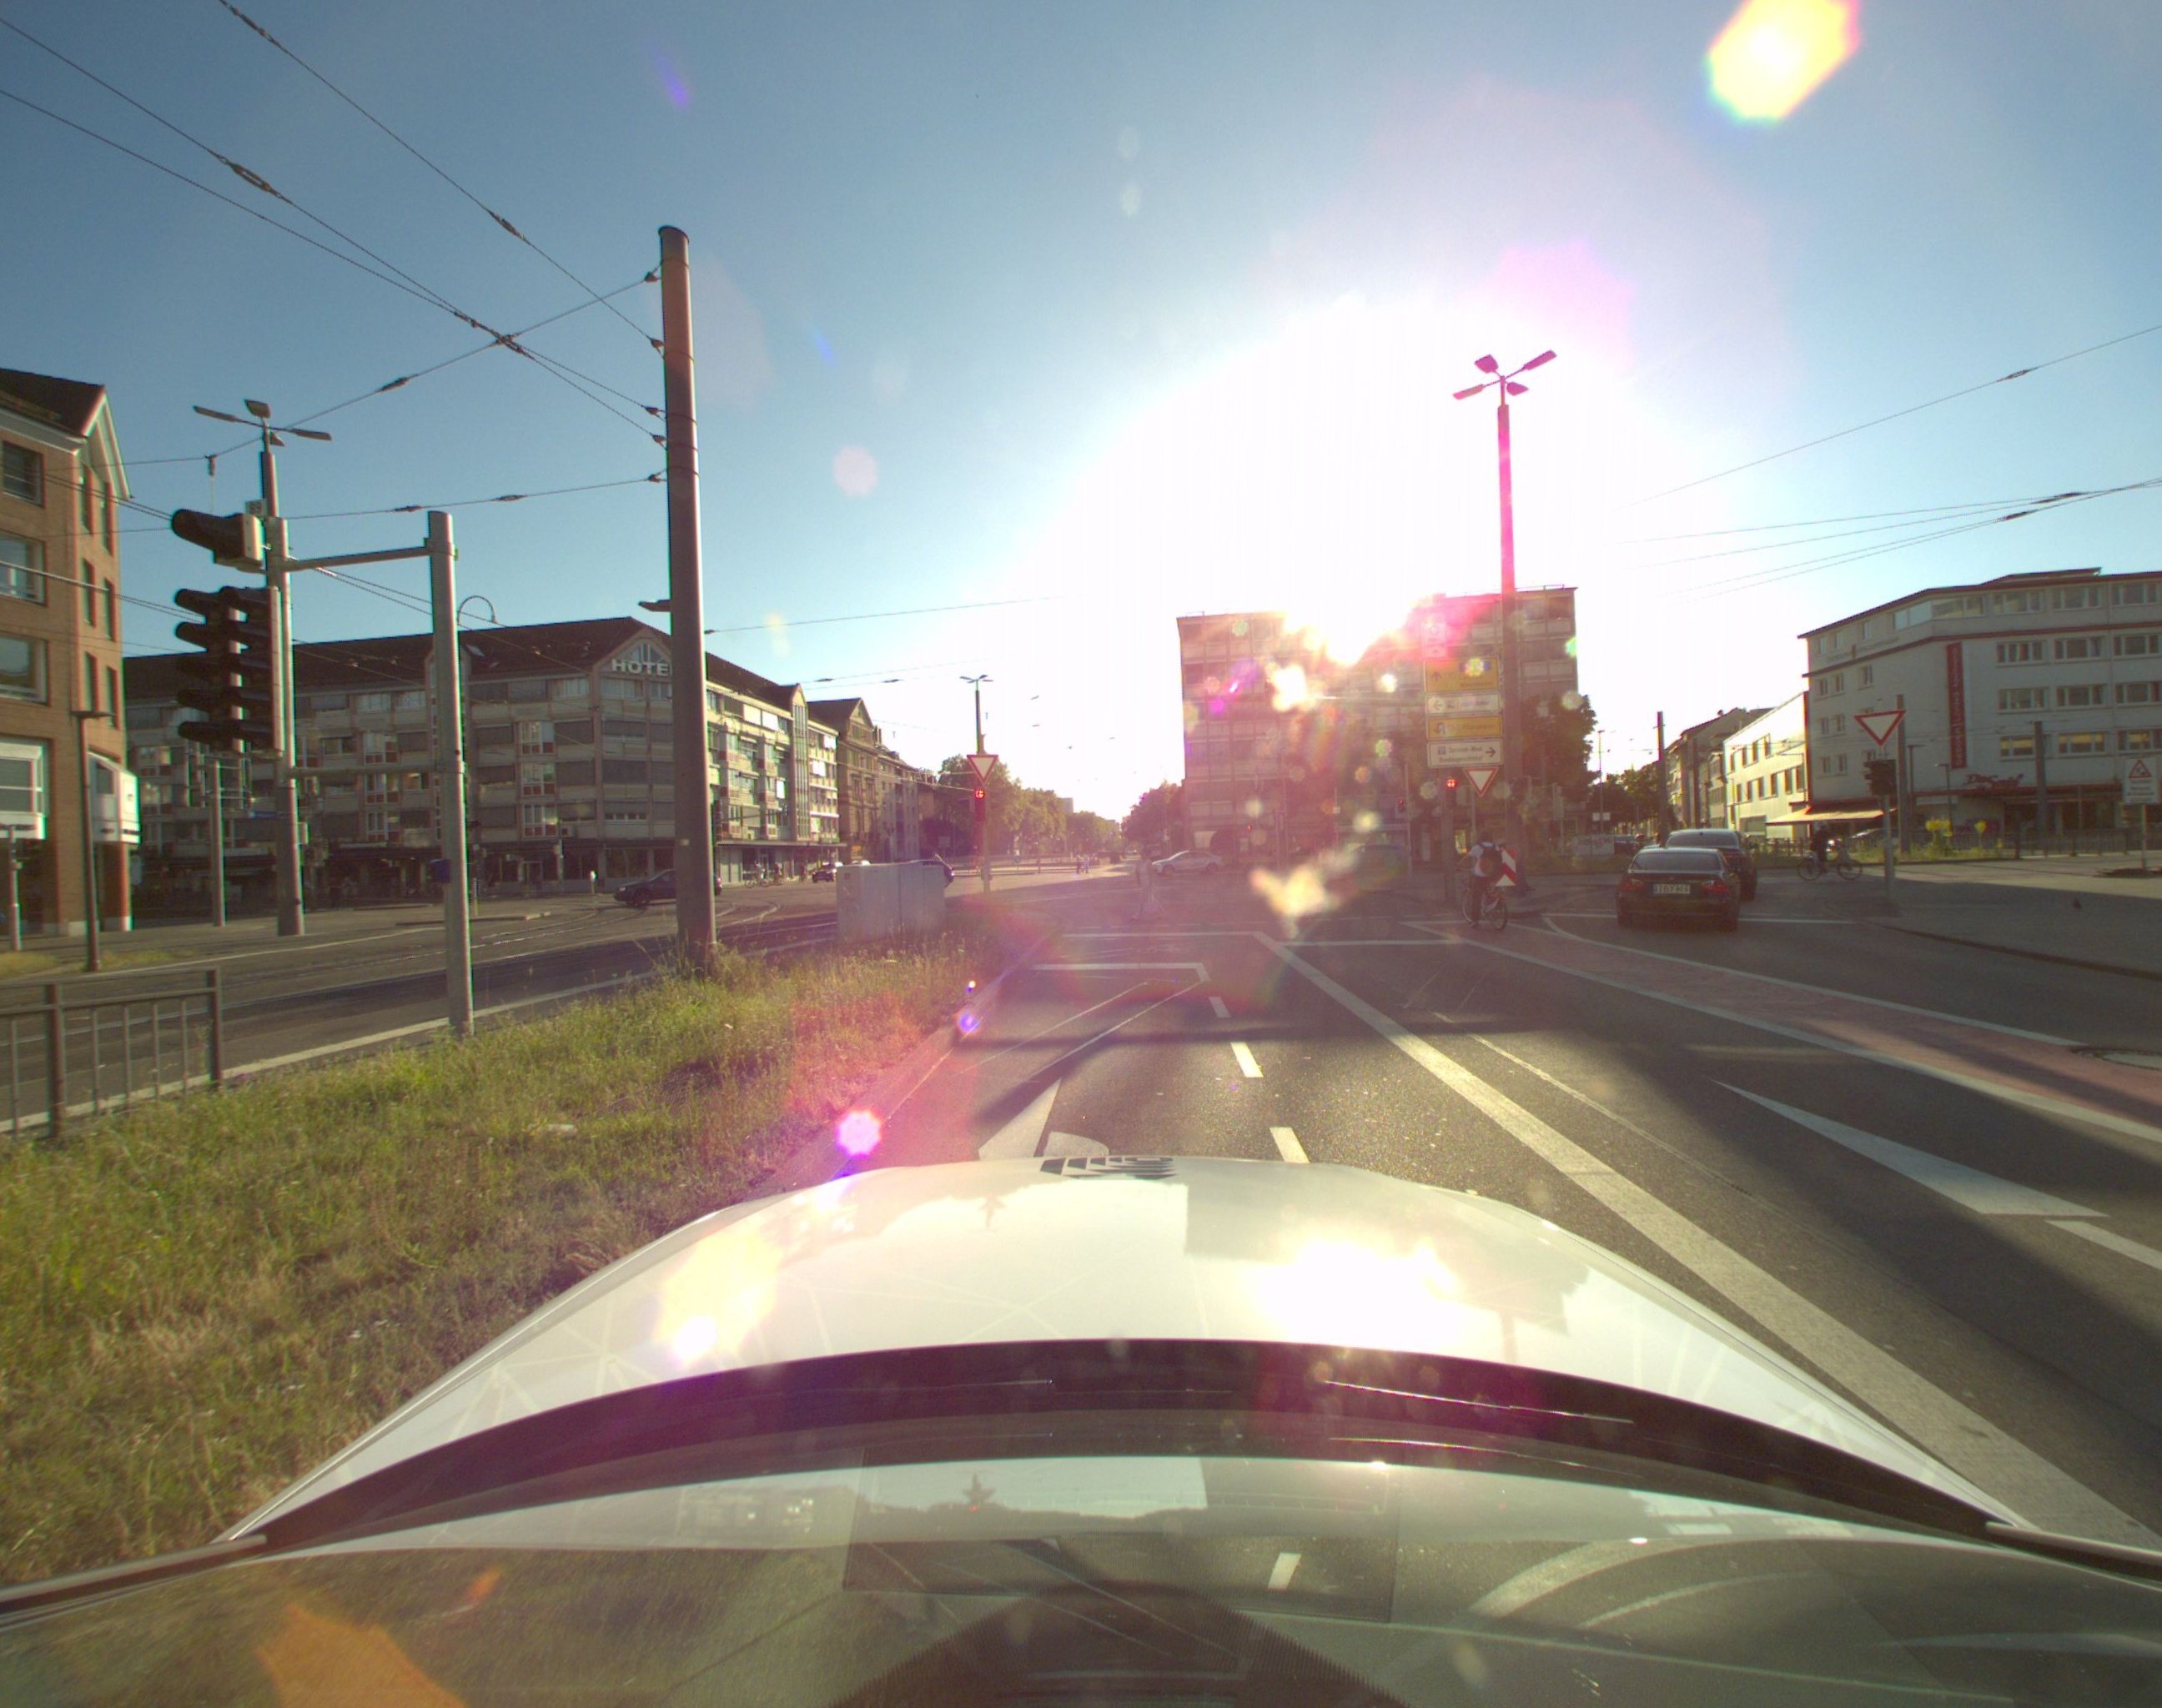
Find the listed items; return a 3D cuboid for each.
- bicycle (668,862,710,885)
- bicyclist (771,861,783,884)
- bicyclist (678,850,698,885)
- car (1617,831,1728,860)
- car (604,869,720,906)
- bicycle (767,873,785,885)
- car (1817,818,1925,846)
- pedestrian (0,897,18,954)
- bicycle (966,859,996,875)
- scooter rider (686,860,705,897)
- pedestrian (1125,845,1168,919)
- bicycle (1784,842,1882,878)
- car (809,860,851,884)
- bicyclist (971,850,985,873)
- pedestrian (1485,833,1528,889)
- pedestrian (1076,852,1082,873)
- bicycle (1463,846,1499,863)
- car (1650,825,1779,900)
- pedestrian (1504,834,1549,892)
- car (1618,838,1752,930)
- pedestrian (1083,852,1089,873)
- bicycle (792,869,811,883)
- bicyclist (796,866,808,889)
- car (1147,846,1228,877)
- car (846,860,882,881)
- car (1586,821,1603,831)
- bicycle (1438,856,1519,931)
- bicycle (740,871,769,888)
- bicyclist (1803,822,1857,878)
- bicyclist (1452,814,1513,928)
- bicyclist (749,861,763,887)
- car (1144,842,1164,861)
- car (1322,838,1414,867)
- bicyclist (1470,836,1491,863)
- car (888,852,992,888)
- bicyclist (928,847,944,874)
[{"bbox_3d":[-19.735,0.994,41.047,1.773,1.072,0.534,-3,0,-6],"label":"bicycle"},{"bbox_3d":[-25.173,1.552,67.405,0.590,1.862,0.643,-3,0,5],"label":"bicyclist"},{"bbox_3d":[-19.798,0.659,41.042,0.663,1.712,0.537,-3,0,-6],"label":"bicyclist"},{"bbox_3d":[34.622,-0.489,47.766,4.891,1.479,2.005,-2,0,8],"label":"car"},{"bbox_3d":[-17.562,1.383,34.239,4.021,1.288,1.825,-3,0,-40],"label":"car"},{"bbox_3d":[-25.170,2.031,67.194,0.595,0.915,1.839,-3,0,6],"label":"bicycle"},{"bbox_3d":[44.825,-1.225,46.292,3.966,1.420,2.004,-2,0,7],"label":"car"},{"bbox_3d":[-34.880,2.311,26.318,0.495,1.807,0.546,-3,0,32],"label":"pedestrian"},{"bbox_3d":[-7.733,0.976,62.779,2.167,1.137,0.659,-3,0,-1],"label":"bicycle"},{"bbox_3d":[-18.112,1.146,38.280,0.664,1.712,0.524,-2,0,-12],"label":"scooter rider"},{"bbox_3d":[1.459,0.610,18.117,0.874,1.597,0.656,-2,0,3],"label":"pedestrian"},{"bbox_3d":[23.016,0.186,24.959,2.214,1.026,0.683,-2,0,7],"label":"bicycle"},{"bbox_3d":[-21.949,1.549,71.368,1.983,1.859,4.007,-3,0,6],"label":"car"},{"bbox_3d":[-7.931,0.563,62.773,0.895,1.752,0.650,-3,0,0],"label":"bicyclist"},{"bbox_3d":[12.443,0.202,23.841,0.875,1.597,0.655,-2,0,1],"label":"pedestrian"},{"bbox_3d":[-0.155,0.625,60.060,0.365,1.508,0.542,-3,0,-3],"label":"pedestrian"},{"bbox_3d":[26.319,0.032,53.578,1.966,1.098,0.677,-2,0,-1],"label":"bicycle"},{"bbox_3d":[16.135,0.140,20.683,4.023,1.693,1.976,-2,2,-43],"label":"car"},{"bbox_3d":[12.619,0.254,23.083,0.875,1.597,0.655,-2,0,1],"label":"pedestrian"},{"bbox_3d":[11.036,0.463,14.942,1.726,1.426,4.026,-2,0,37],"label":"car"},{"bbox_3d":[0.348,0.639,60.950,0.365,1.508,0.542,-3,0,-3],"label":"pedestrian"},{"bbox_3d":[-24.349,1.919,70.995,0.604,1.201,1.972,-2,0,9],"label":"bicycle"},{"bbox_3d":[-24.333,2.054,70.970,0.599,2.013,0.781,-2,0,7],"label":"bicyclist"},{"bbox_3d":[6.175,0.415,47.566,4.324,1.596,1.997,-3,0,-4],"label":"car"},{"bbox_3d":[-21.116,1.556,79.420,1.983,1.859,4.007,-3,0,6],"label":"car"},{"bbox_3d":[74.969,-4.070,118.892,1.974,1.398,4.025,-3,0,31],"label":"car"},{"bbox_3d":[7.299,0.679,15.053,0.641,1.223,2.051,0,2,5],"label":"bicycle"},{"bbox_3d":[-22.140,1.716,55.216,1.730,1.059,0.538,-3,0,-6],"label":"bicycle"},{"bbox_3d":[22.944,-0.131,24.970,0.953,1.661,0.692,-2,0,7],"label":"bicyclist"},{"bbox_3d":[7.289,0.287,14.834,0.640,2.013,1.068,0,1,5],"label":"bicyclist"},{"bbox_3d":[-22.029,1.374,55.227,0.663,1.712,0.537,-3,0,-6],"label":"bicyclist"},{"bbox_3d":[10.092,-0.367,112.579,2.475,2.392,5.940,-4,0,3],"label":"car"},{"bbox_3d":[16.664,-0.107,47.570,4.884,1.479,2.008,-2,0,14],"label":"car"},{"bbox_3d":[26.292,-0.284,53.583,1.036,1.739,0.678,-2,0,0],"label":"bicyclist"},{"bbox_3d":[-7.192,0.787,41.733,4.796,1.596,1.980,-3,0,-31],"label":"car"},{"bbox_3d":[-9.880,0.454,55.513,0.895,1.752,0.654,-3,0,-1],"label":"bicyclist"}]
